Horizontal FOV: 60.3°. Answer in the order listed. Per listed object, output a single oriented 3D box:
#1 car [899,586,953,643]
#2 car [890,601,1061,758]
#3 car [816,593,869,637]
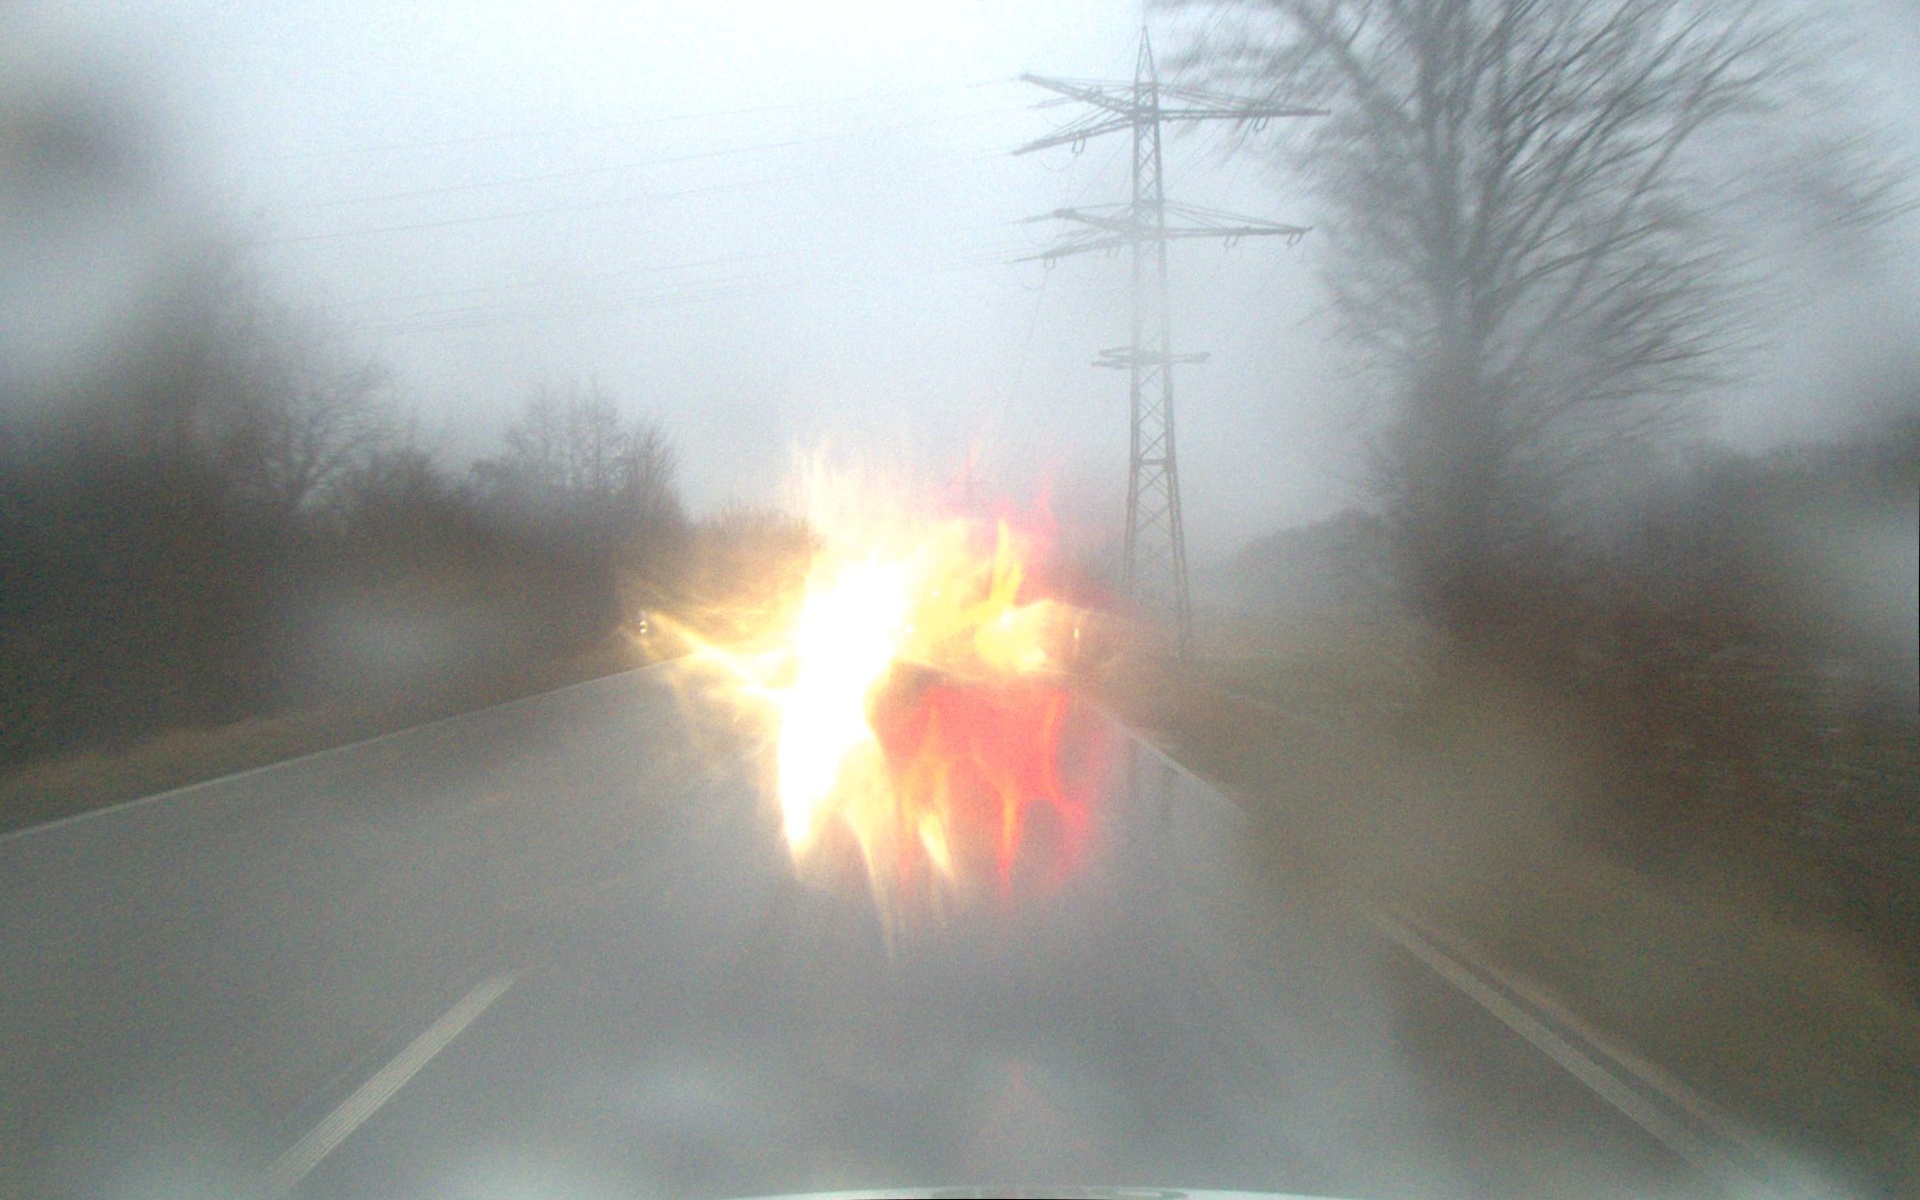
[{"bbox_3d":[-1.269,0.518,62.506,1.953,2.049,3.999,-1,0,-1],"label":"car"},{"bbox_3d":[0.140,0.911,20.921,1.953,1.783,3.999,0,0,-1],"label":"car"},{"bbox_3d":[-4.755,0.593,67.261,1.771,1.563,4.407,5,0,-1],"label":"car"}]
